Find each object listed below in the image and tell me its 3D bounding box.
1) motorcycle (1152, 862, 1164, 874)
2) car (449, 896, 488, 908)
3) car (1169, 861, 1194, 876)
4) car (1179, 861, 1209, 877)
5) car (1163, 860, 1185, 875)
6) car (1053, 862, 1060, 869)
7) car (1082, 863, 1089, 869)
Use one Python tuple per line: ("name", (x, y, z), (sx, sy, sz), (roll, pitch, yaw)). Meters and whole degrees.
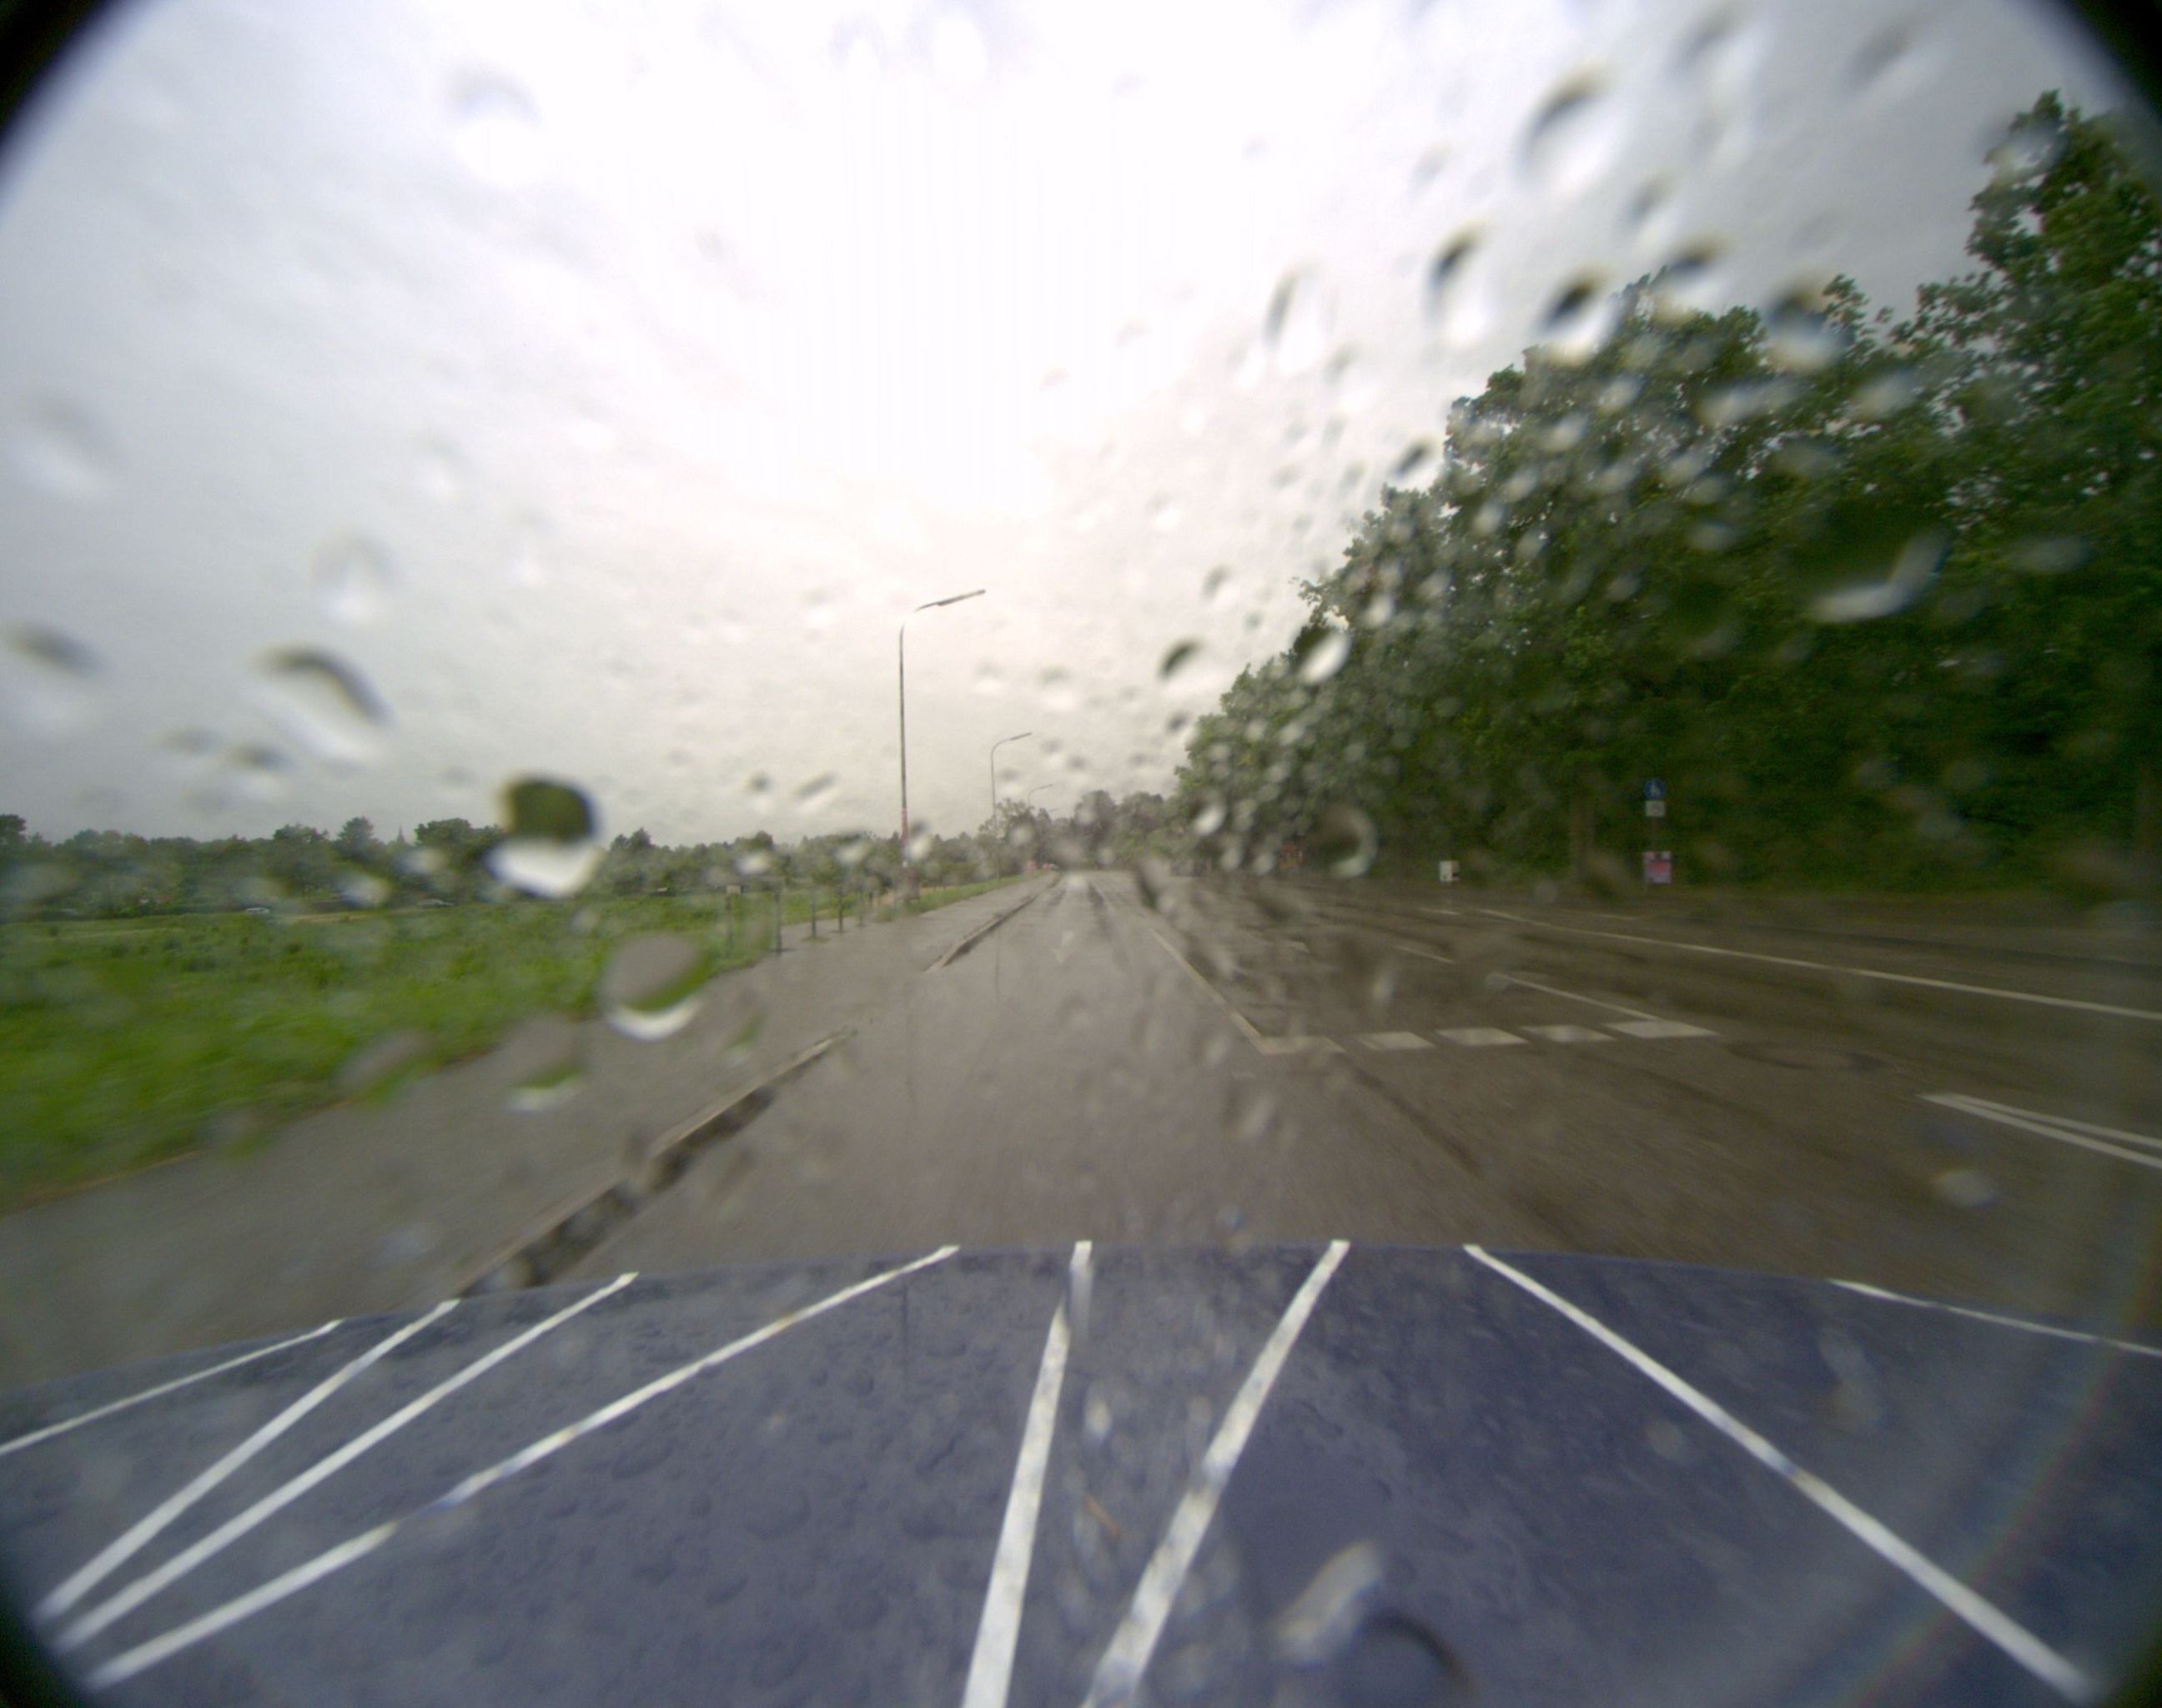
("motorcycle", (8.475, 1.501, 83.800), (0.840, 1.333, 2.498), (-1, 0, -7))
("car", (-89.701, 6.965, 111.242), (4.000, 1.501, 1.799), (-2, 0, -8))
("car", (9.605, 1.344, 72.901), (1.437, 1.411, 4.102), (-1, 0, -6))
("car", (10.014, 1.314, 67.539), (1.691, 1.411, 4.740), (-1, 0, -3))
("car", (9.406, 1.363, 76.922), (1.438, 1.528, 2.817), (-1, 0, -10))
("car", (-7.267, 3.327, 222.353), (1.999, 2.001, 4.000), (-2, -1, -2))
("car", (1.413, 3.614, 231.570), (1.853, 1.583, 3.704), (-2, -1, -3))
